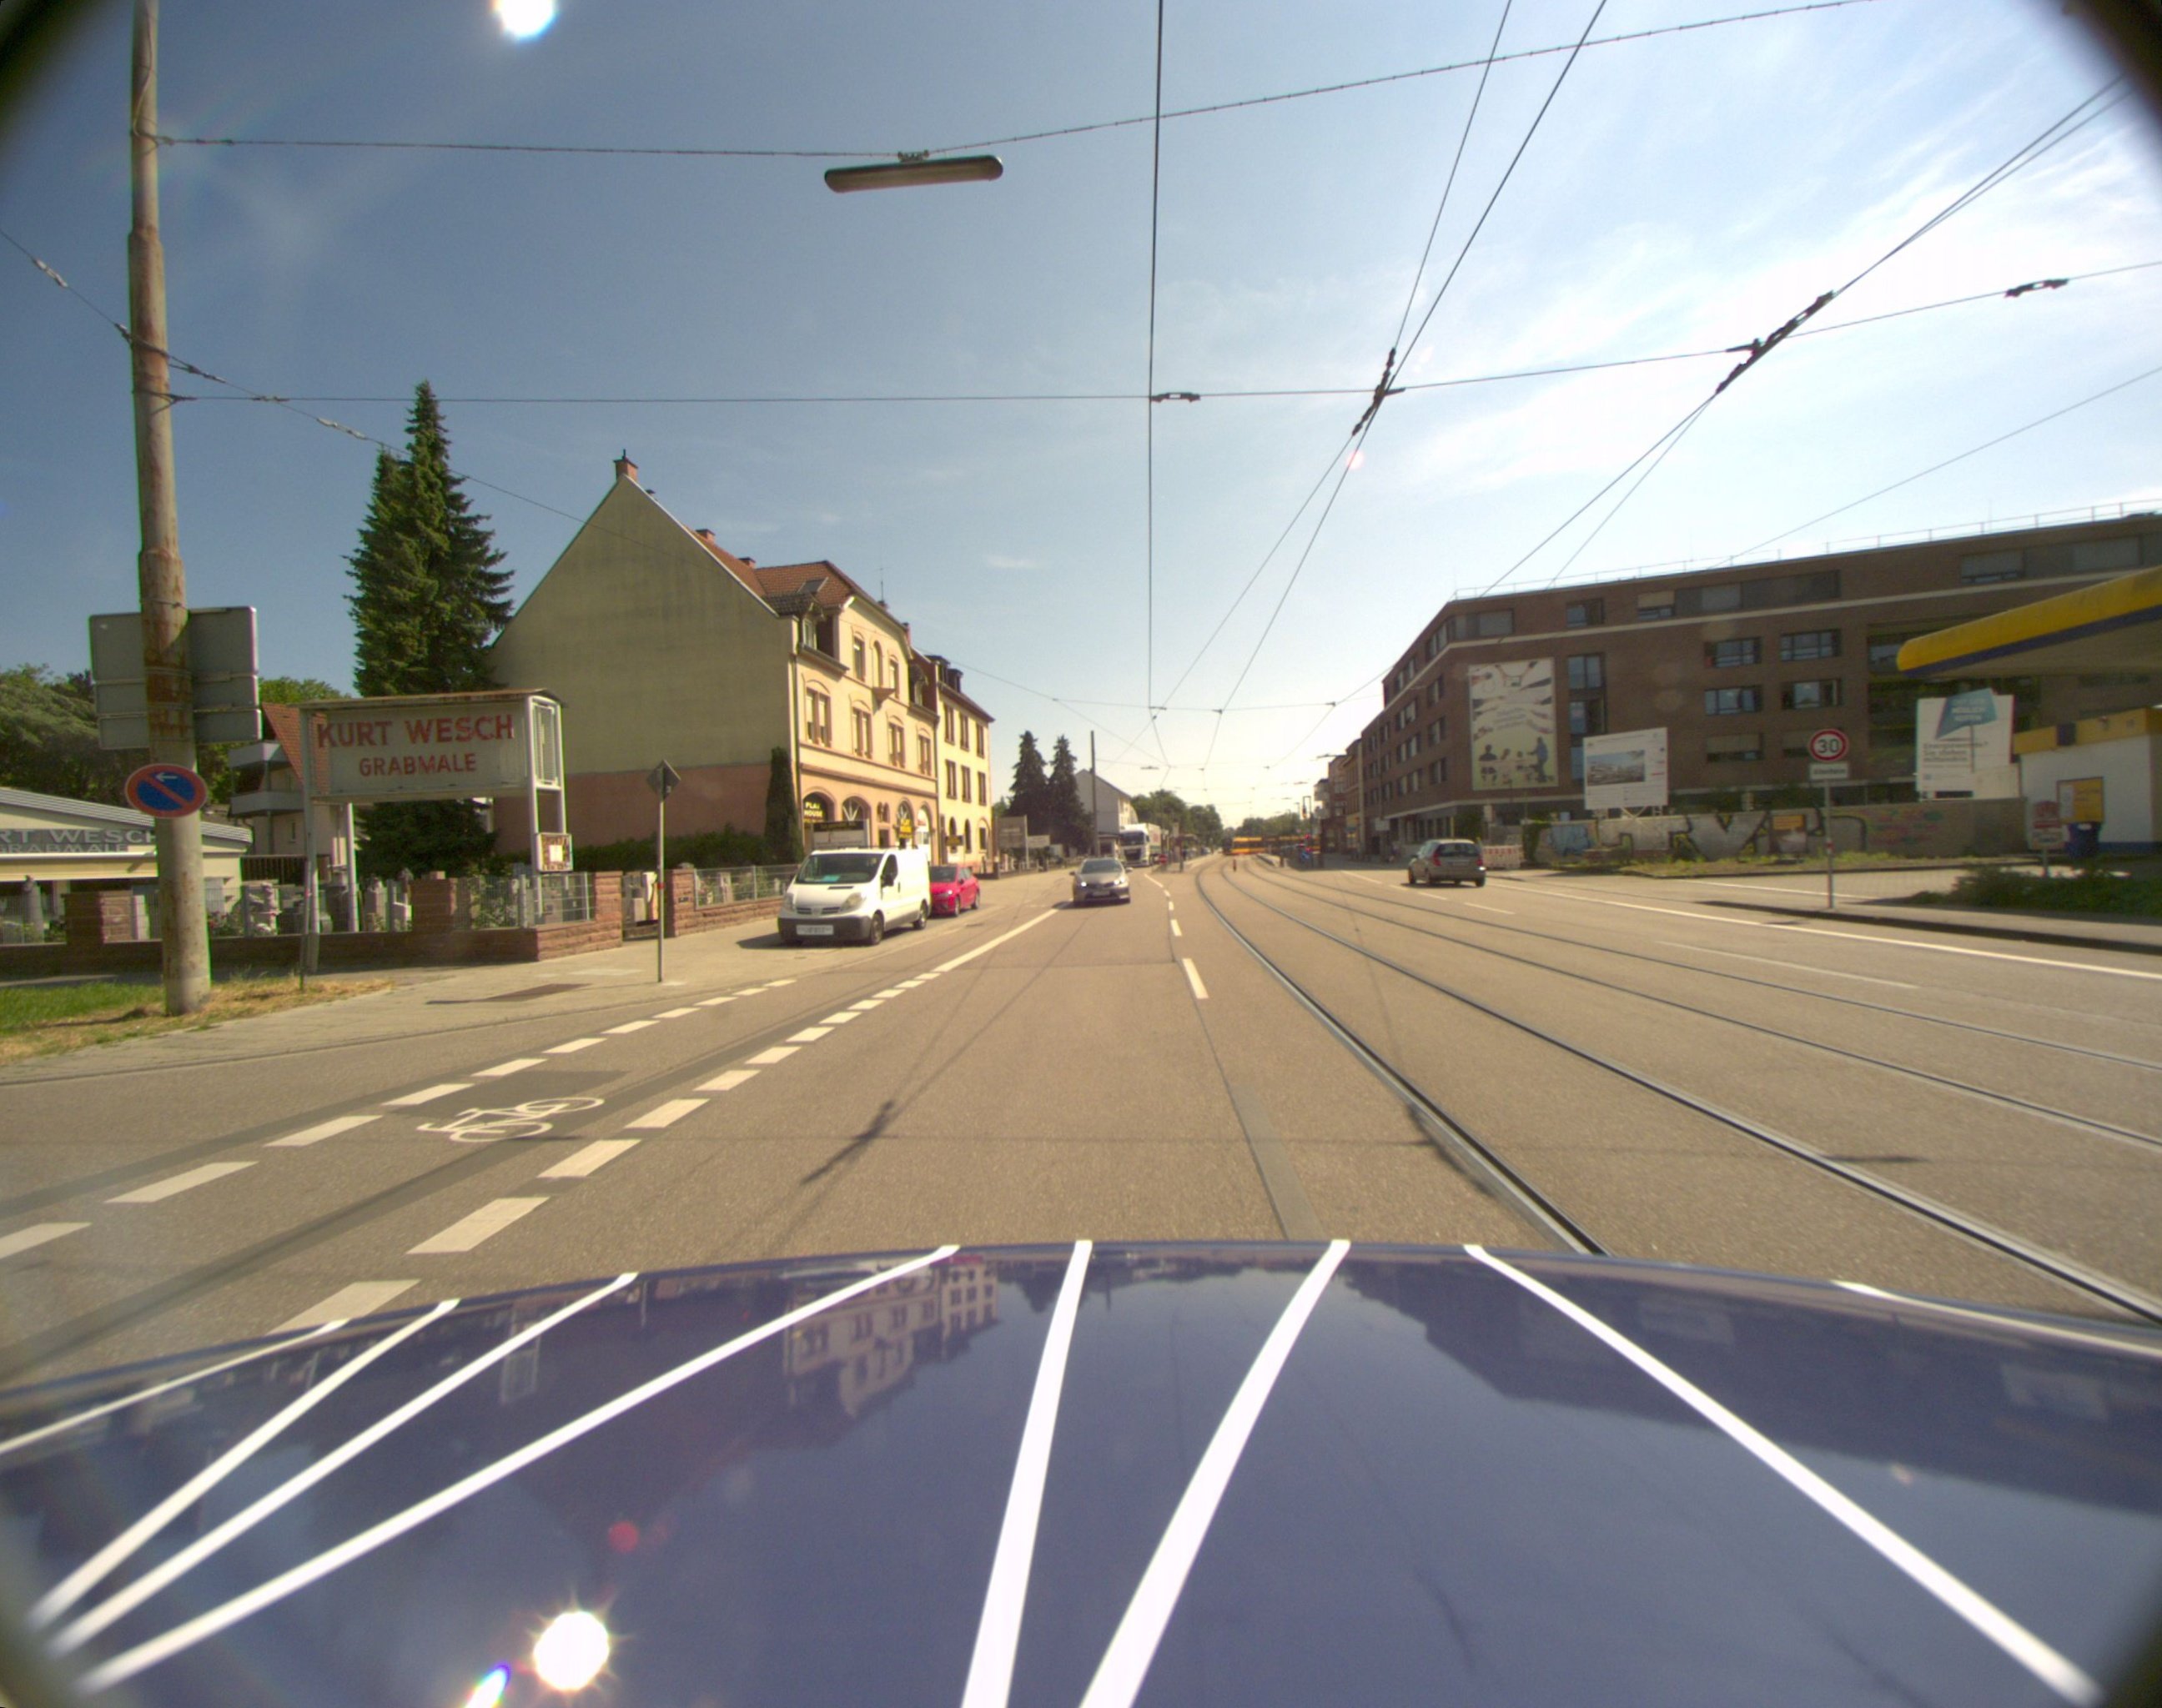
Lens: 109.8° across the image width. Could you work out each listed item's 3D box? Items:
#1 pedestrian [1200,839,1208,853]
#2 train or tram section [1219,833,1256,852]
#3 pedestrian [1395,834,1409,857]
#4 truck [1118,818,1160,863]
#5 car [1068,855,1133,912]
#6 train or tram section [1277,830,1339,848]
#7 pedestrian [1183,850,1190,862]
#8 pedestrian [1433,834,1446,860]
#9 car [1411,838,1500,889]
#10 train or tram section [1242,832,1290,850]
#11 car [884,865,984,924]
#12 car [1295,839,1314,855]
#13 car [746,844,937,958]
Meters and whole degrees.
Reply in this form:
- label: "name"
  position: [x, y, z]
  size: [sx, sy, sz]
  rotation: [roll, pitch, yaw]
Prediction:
- label: "pedestrian"
  position: [16.657, -1.116, 103.138]
  size: [0.982, 1.848, 1.238]
  rotation: [-2, 1, 12]
- label: "train or tram section"
  position: [30.661, -2.305, 148.116]
  size: [2.681, 3.460, 13.362]
  rotation: [-2, 1, 31]
- label: "pedestrian"
  position: [25.927, -0.653, 61.387]
  size: [0.846, 1.808, 0.839]
  rotation: [-2, 1, 12]
- label: "truck"
  position: [5.424, -1.202, 69.938]
  size: [2.655, 3.772, 7.870]
  rotation: [-2, 0, 12]
- label: "car"
  position: [0.684, 0.831, 23.585]
  size: [1.695, 1.440, 4.482]
  rotation: [-4, 1, 4]
- label: "train or tram section"
  position: [48.931, -3.239, 163.807]
  size: [13.344, 3.460, 2.685]
  rotation: [-2, 1, -15]
- label: "pedestrian"
  position: [11.270, 0.198, 81.305]
  size: [0.630, 1.247, 0.710]
  rotation: [-2, 1, 11]
- label: "pedestrian"
  position: [23.535, -0.443, 49.872]
  size: [0.582, 1.655, 0.700]
  rotation: [-2, 1, 10]
- label: "car"
  position: [12.470, 0.265, 25.536]
  size: [1.749, 1.562, 3.894]
  rotation: [-1, 1, 11]
- label: "train or tram section"
  position: [38.515, -2.752, 157.965]
  size: [13.363, 3.460, 2.681]
  rotation: [-3, 1, -43]
- label: "car"
  position: [-4.185, 1.112, 22.351]
  size: [1.725, 1.435, 4.313]
  rotation: [0, 1, 5]
- label: "car"
  position: [26.499, -0.837, 90.198]
  size: [1.804, 1.718, 4.192]
  rotation: [-4, 0, 12]
- label: "car"
  position: [-4.823, 0.848, 16.274]
  size: [1.980, 2.042, 5.193]
  rotation: [0, 0, 6]
